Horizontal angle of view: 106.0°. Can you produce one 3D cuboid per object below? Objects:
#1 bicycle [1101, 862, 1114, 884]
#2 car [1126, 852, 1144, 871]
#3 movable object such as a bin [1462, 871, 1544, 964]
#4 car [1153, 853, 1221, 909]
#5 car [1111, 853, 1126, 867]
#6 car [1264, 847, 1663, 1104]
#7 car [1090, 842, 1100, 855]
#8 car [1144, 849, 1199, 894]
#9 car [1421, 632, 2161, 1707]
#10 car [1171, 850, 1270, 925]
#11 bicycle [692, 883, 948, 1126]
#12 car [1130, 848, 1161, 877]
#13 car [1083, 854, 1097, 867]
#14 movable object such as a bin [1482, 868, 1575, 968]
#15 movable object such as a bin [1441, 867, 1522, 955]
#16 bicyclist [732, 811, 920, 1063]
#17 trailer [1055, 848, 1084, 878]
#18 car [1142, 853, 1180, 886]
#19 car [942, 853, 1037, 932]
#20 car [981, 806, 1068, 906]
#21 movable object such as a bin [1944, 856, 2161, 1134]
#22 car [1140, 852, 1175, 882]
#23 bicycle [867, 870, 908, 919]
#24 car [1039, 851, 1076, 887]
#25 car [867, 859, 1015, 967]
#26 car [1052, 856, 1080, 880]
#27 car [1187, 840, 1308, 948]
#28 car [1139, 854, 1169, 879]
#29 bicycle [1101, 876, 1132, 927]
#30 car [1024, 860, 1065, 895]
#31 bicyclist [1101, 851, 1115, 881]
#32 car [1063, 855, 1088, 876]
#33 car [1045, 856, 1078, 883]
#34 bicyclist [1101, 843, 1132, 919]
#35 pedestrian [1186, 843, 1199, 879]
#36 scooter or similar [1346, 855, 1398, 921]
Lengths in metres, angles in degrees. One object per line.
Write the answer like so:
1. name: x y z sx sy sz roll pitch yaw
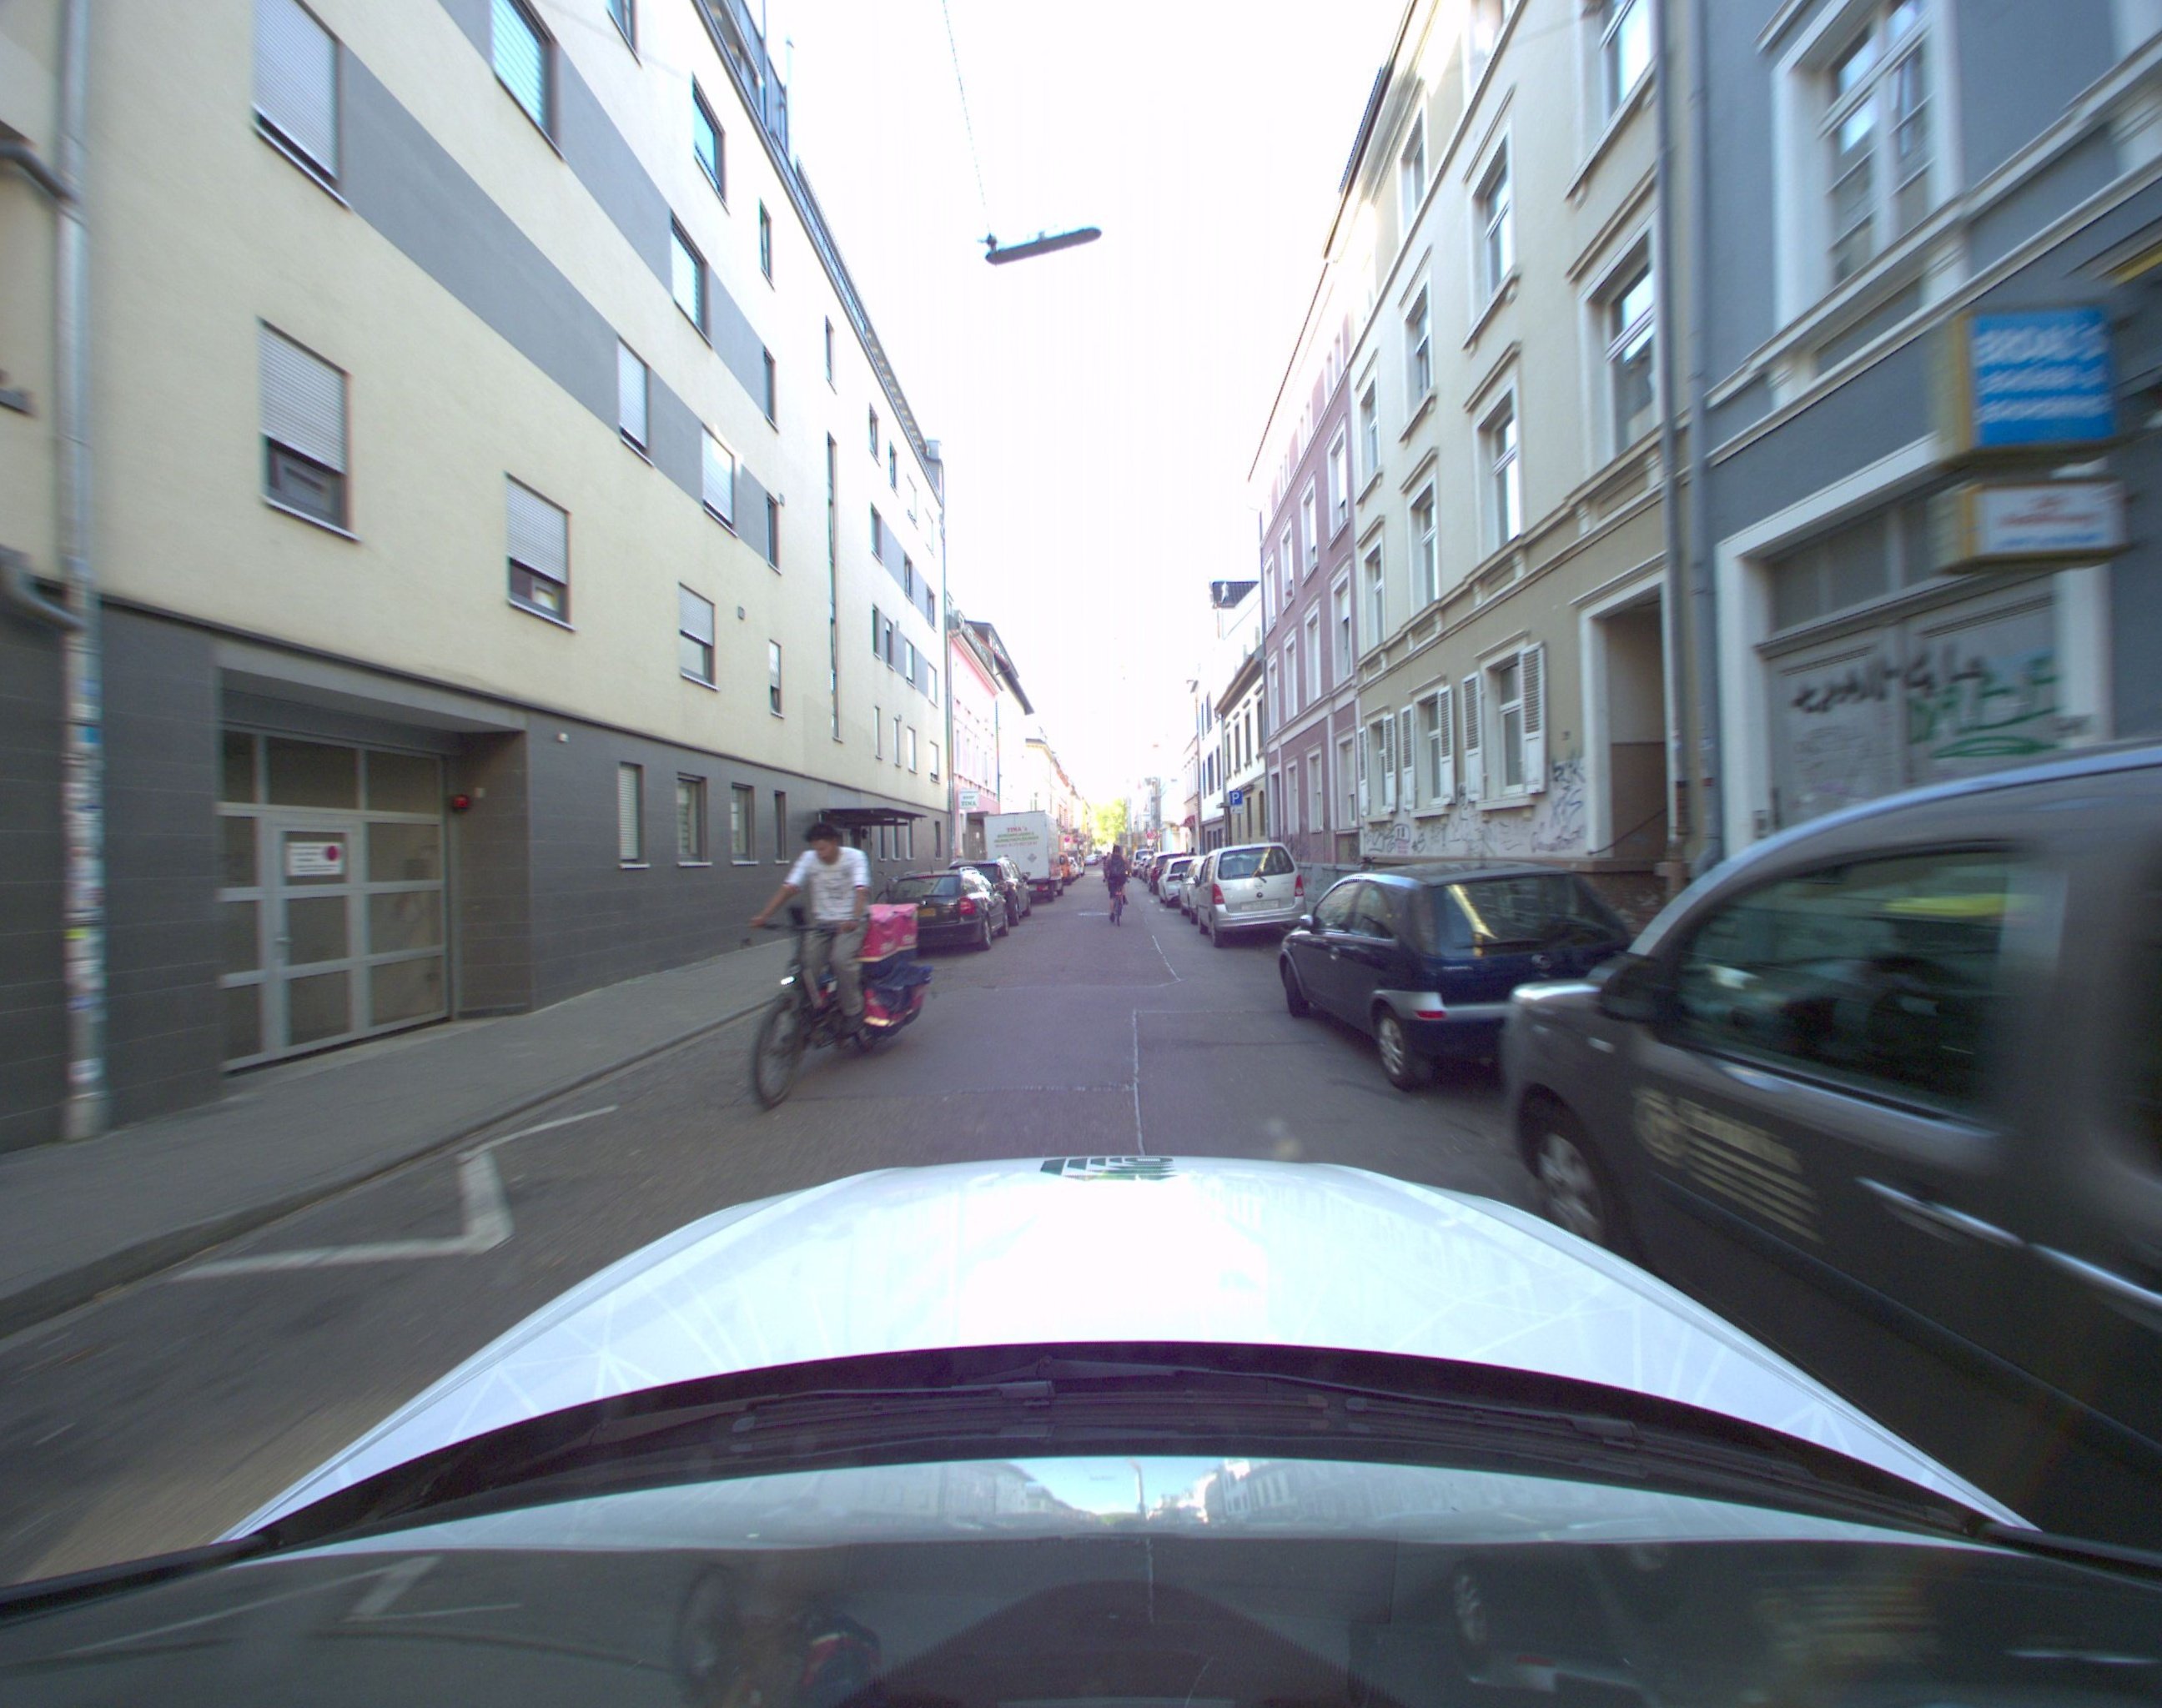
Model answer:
1. bicycle: 1.391 0.968 42.652 0.646 1.129 2.136 -1 -1 2
2. car: 4.937 0.686 74.782 1.605 1.633 3.611 -1 -1 2
3. movable object such as a bin: 5.318 0.791 10.294 0.692 1.088 0.559 -3 0 1
4. car: 3.264 0.802 25.749 1.680 1.543 4.047 -4 -1 2
5. car: 4.185 0.708 91.074 1.605 1.560 3.611 -1 -1 2
6. car: 2.690 0.739 6.671 1.547 1.511 3.610 -1 -1 -1
7. car: 2.751 -1.050 160.586 1.743 2.318 3.797 -3 -1 2
8. car: 3.701 0.693 33.830 1.911 1.706 4.368 -1 0 2
9. car: 2.552 0.568 1.813 1.892 1.793 4.316 -1 -1 2
10. car: 3.292 0.748 20.086 1.690 1.543 4.630 -4 -1 2
11. bicycle: -1.781 0.950 6.173 0.974 1.314 2.556 -3 0 2
12. car: 4.511 0.604 57.427 1.745 1.879 3.971 -3 -1 0
13. car: 1.274 0.943 114.053 1.743 1.683 3.797 -3 -1 2
14. movable object such as a bin: 5.277 0.739 9.640 0.692 1.088 0.632 -3 0 1
15. movable object such as a bin: 5.344 0.747 10.883 0.749 1.088 0.559 -4 0 1
16. bicyclist: -1.798 0.553 5.911 0.947 1.628 0.953 -4 0 1
17. trailer: -0.815 0.666 60.782 1.875 2.092 3.738 -3 -1 2
18. car: 4.069 0.758 41.911 1.660 1.505 3.819 -5 -1 3
19. car: -2.217 0.880 20.795 1.710 1.650 4.247 -4 1 2
20. car: -1.999 0.107 31.419 2.334 3.291 7.159 -4 -1 3
21. movable object such as a bin: 5.001 0.650 4.043 0.760 1.243 0.580 -3 -1 -1
22. car: 4.303 0.735 46.440 1.640 1.475 3.972 -6 -1 2
23. bicycle: -5.049 1.043 21.321 0.488 1.164 1.775 -4 0 3
24. car: -1.264 0.809 45.612 1.746 1.816 4.079 -4 -1 1
25. car: -2.382 0.941 15.022 1.710 1.478 4.501 -4 1 2
26. car: -1.020 0.936 56.142 1.647 1.537 3.636 -3 -1 2
27. car: 2.895 0.654 14.812 1.550 1.712 3.560 -1 -1 2
28. car: 4.649 0.793 52.353 1.742 1.487 3.803 -3 -1 3
29. bicycle: 0.796 1.051 18.539 0.674 1.074 1.942 -1 -1 2
30. car: -1.699 1.077 39.022 1.572 1.483 3.566 -4 -1 2
31. bicyclist: 1.411 0.626 42.642 0.668 1.567 0.716 -1 -1 1
32. car: -0.395 0.885 65.116 1.743 1.573 3.797 -3 -1 2
33. car: -1.182 0.931 51.131 1.743 1.537 4.321 -3 -1 2
34. bicyclist: 0.794 0.607 18.563 0.665 1.677 1.097 -1 -1 1
35. pedestrian: 6.267 0.379 45.799 0.641 2.014 0.764 -1 -1 2
36. scooter or similar: 5.626 0.636 15.789 0.448 1.182 1.369 -5 -1 2
